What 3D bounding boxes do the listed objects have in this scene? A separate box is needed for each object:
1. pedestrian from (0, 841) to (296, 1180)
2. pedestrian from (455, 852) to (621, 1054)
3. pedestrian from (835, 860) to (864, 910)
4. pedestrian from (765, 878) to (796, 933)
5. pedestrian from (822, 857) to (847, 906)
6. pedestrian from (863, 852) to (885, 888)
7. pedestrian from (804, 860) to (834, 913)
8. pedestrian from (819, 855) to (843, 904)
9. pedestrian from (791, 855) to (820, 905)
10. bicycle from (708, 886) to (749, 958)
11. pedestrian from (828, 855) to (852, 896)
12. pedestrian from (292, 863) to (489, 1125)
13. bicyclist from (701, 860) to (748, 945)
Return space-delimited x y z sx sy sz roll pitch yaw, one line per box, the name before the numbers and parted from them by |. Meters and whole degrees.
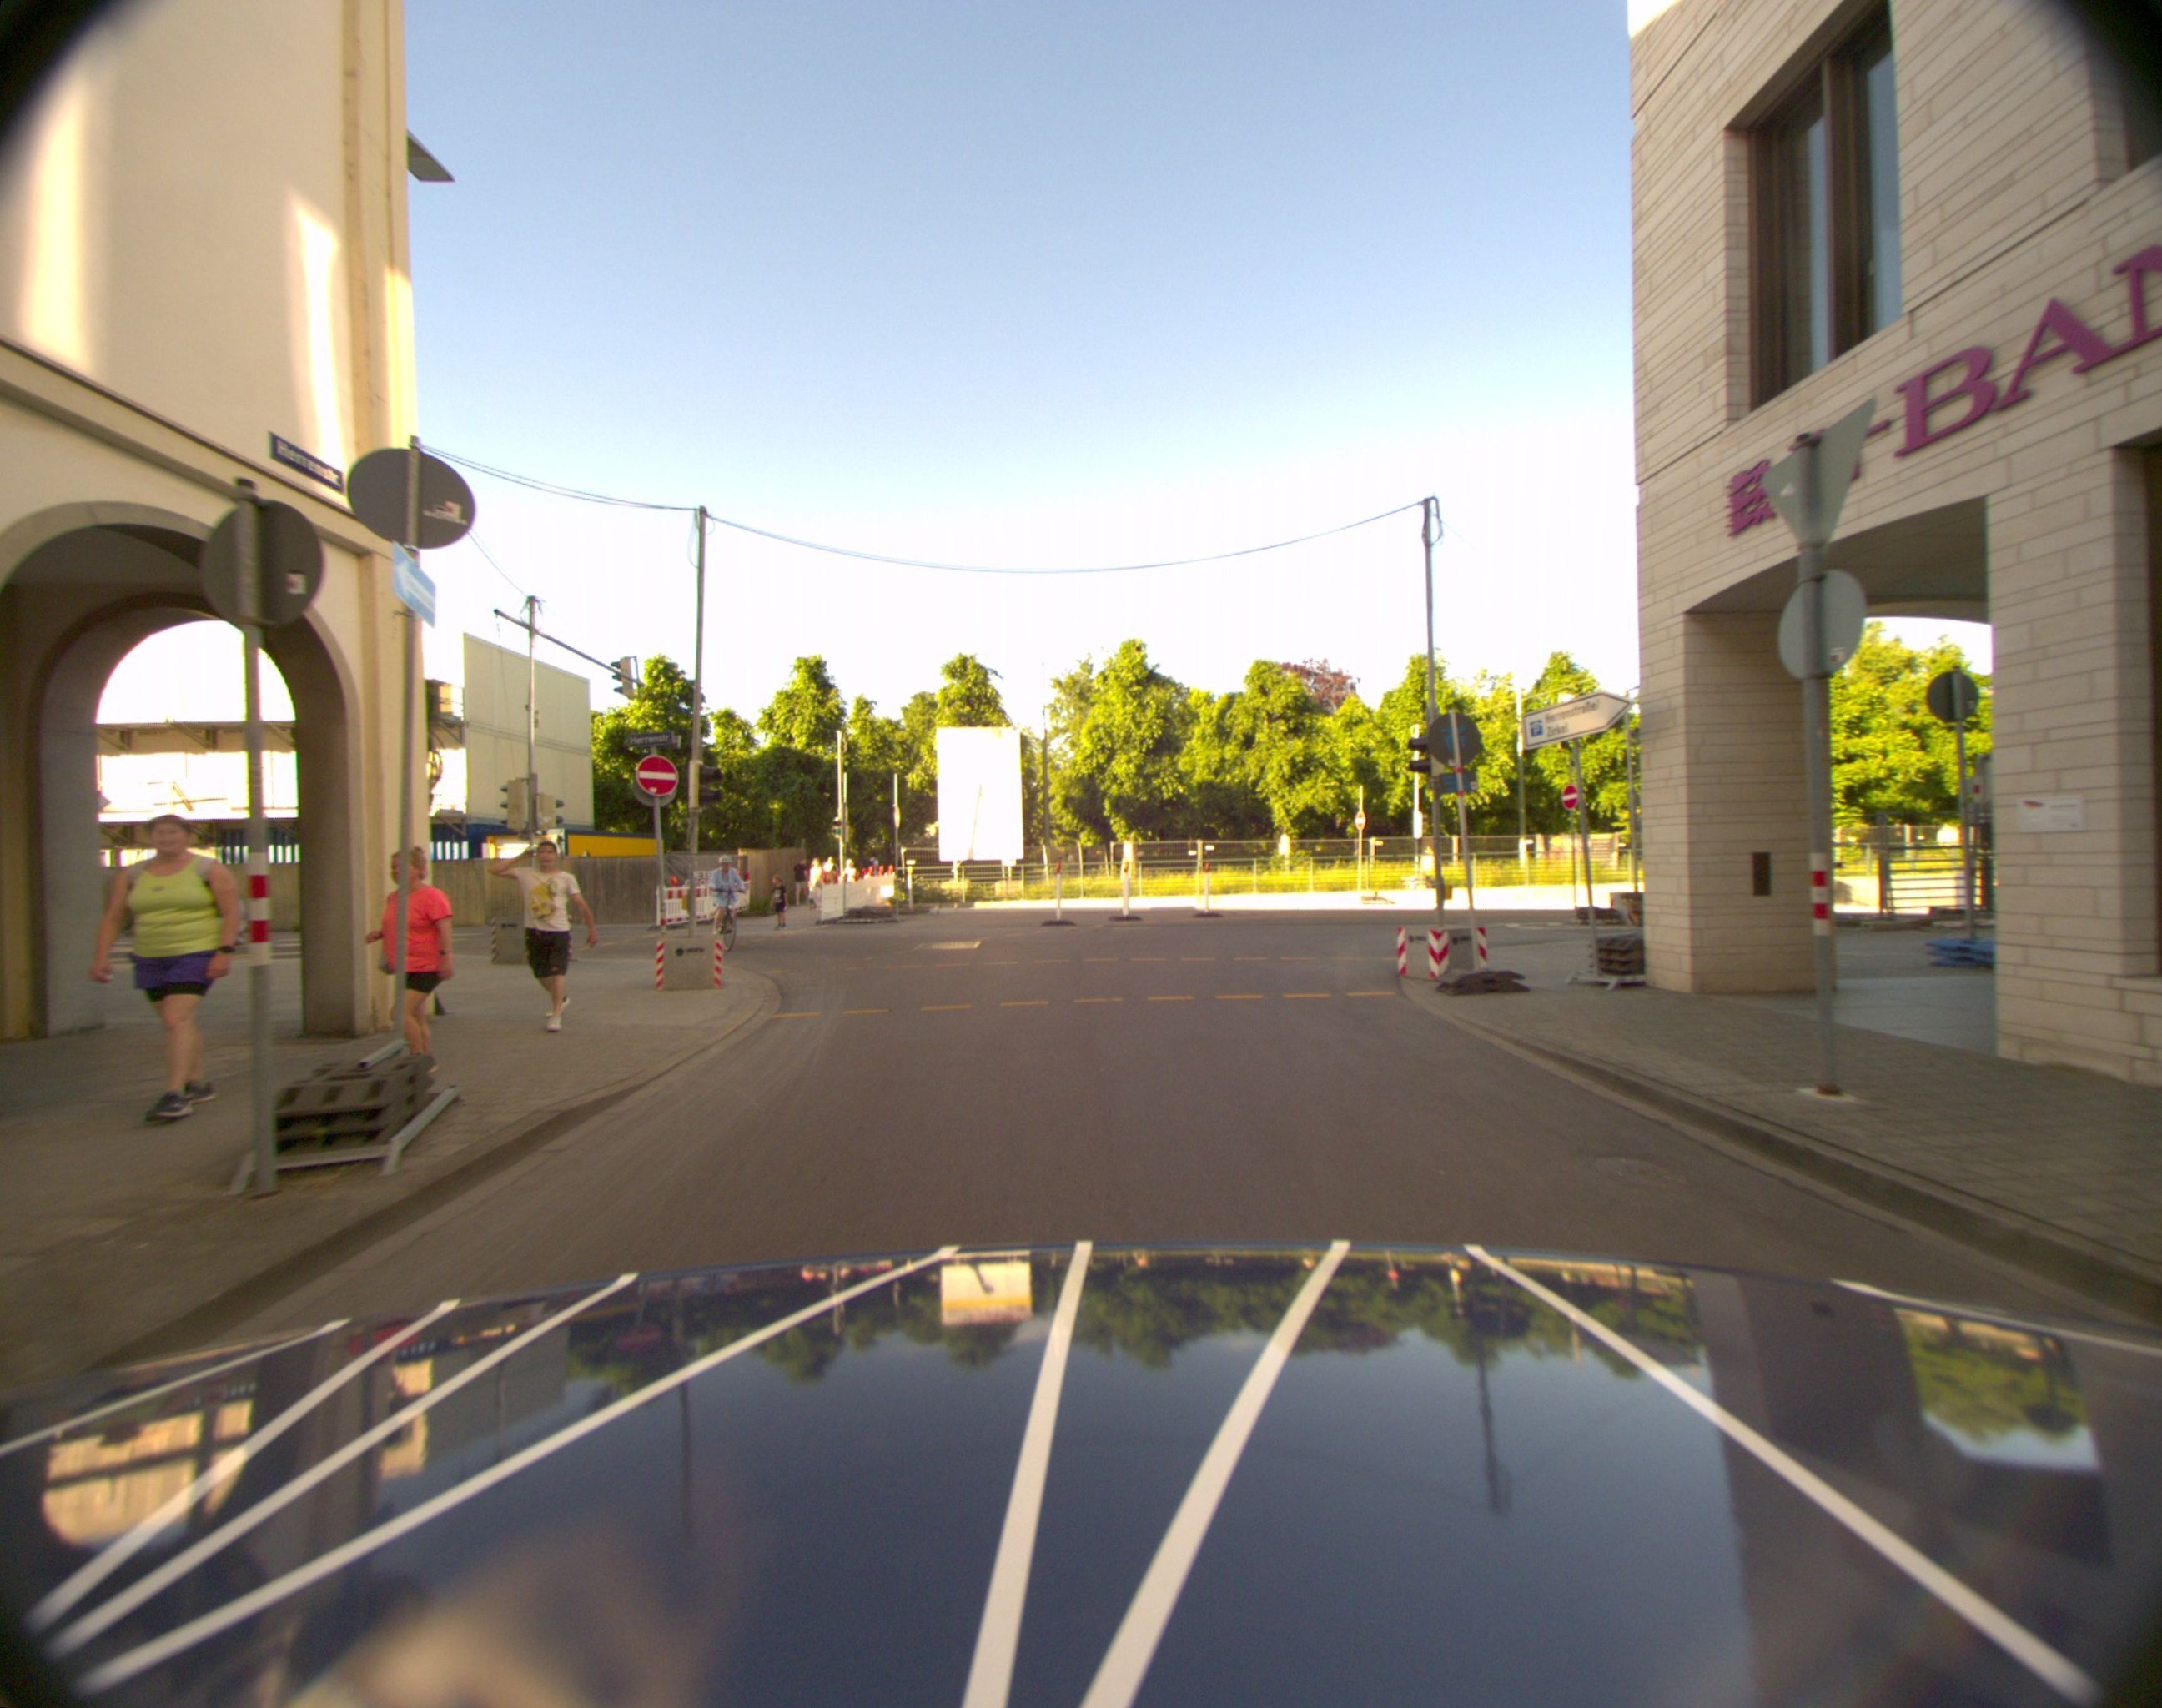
pedestrian | -5.312 0.795 4.306 0.675 1.699 0.968 2 0 -3
pedestrian | -4.952 0.856 7.006 0.798 1.718 0.977 2 0 -3
pedestrian | -7.407 0.969 24.317 0.665 1.557 0.745 -1 2 -1
pedestrian | -7.179 1.227 18.186 0.493 1.291 0.620 -1 -2 0
pedestrian | -8.748 0.958 27.008 0.621 1.706 0.739 -1 2 1
pedestrian | -8.610 0.645 31.562 0.665 1.454 0.771 -1 2 1
pedestrian | -8.271 1.015 23.990 0.643 1.595 0.739 -1 2 1
pedestrian | -9.156 0.920 27.840 0.621 1.761 0.739 -1 2 1
pedestrian | -10.010 0.946 27.636 0.723 1.761 0.739 -1 2 1
bicycle | -6.619 1.241 14.323 0.477 1.194 1.996 -1 0 -19
pedestrian | -9.547 0.846 30.149 0.665 1.610 0.771 -1 2 1
pedestrian | -4.580 0.879 5.094 0.620 1.614 0.727 2 0 -3
bicyclist | -6.594 0.871 14.072 0.687 1.507 0.703 -1 0 -19
